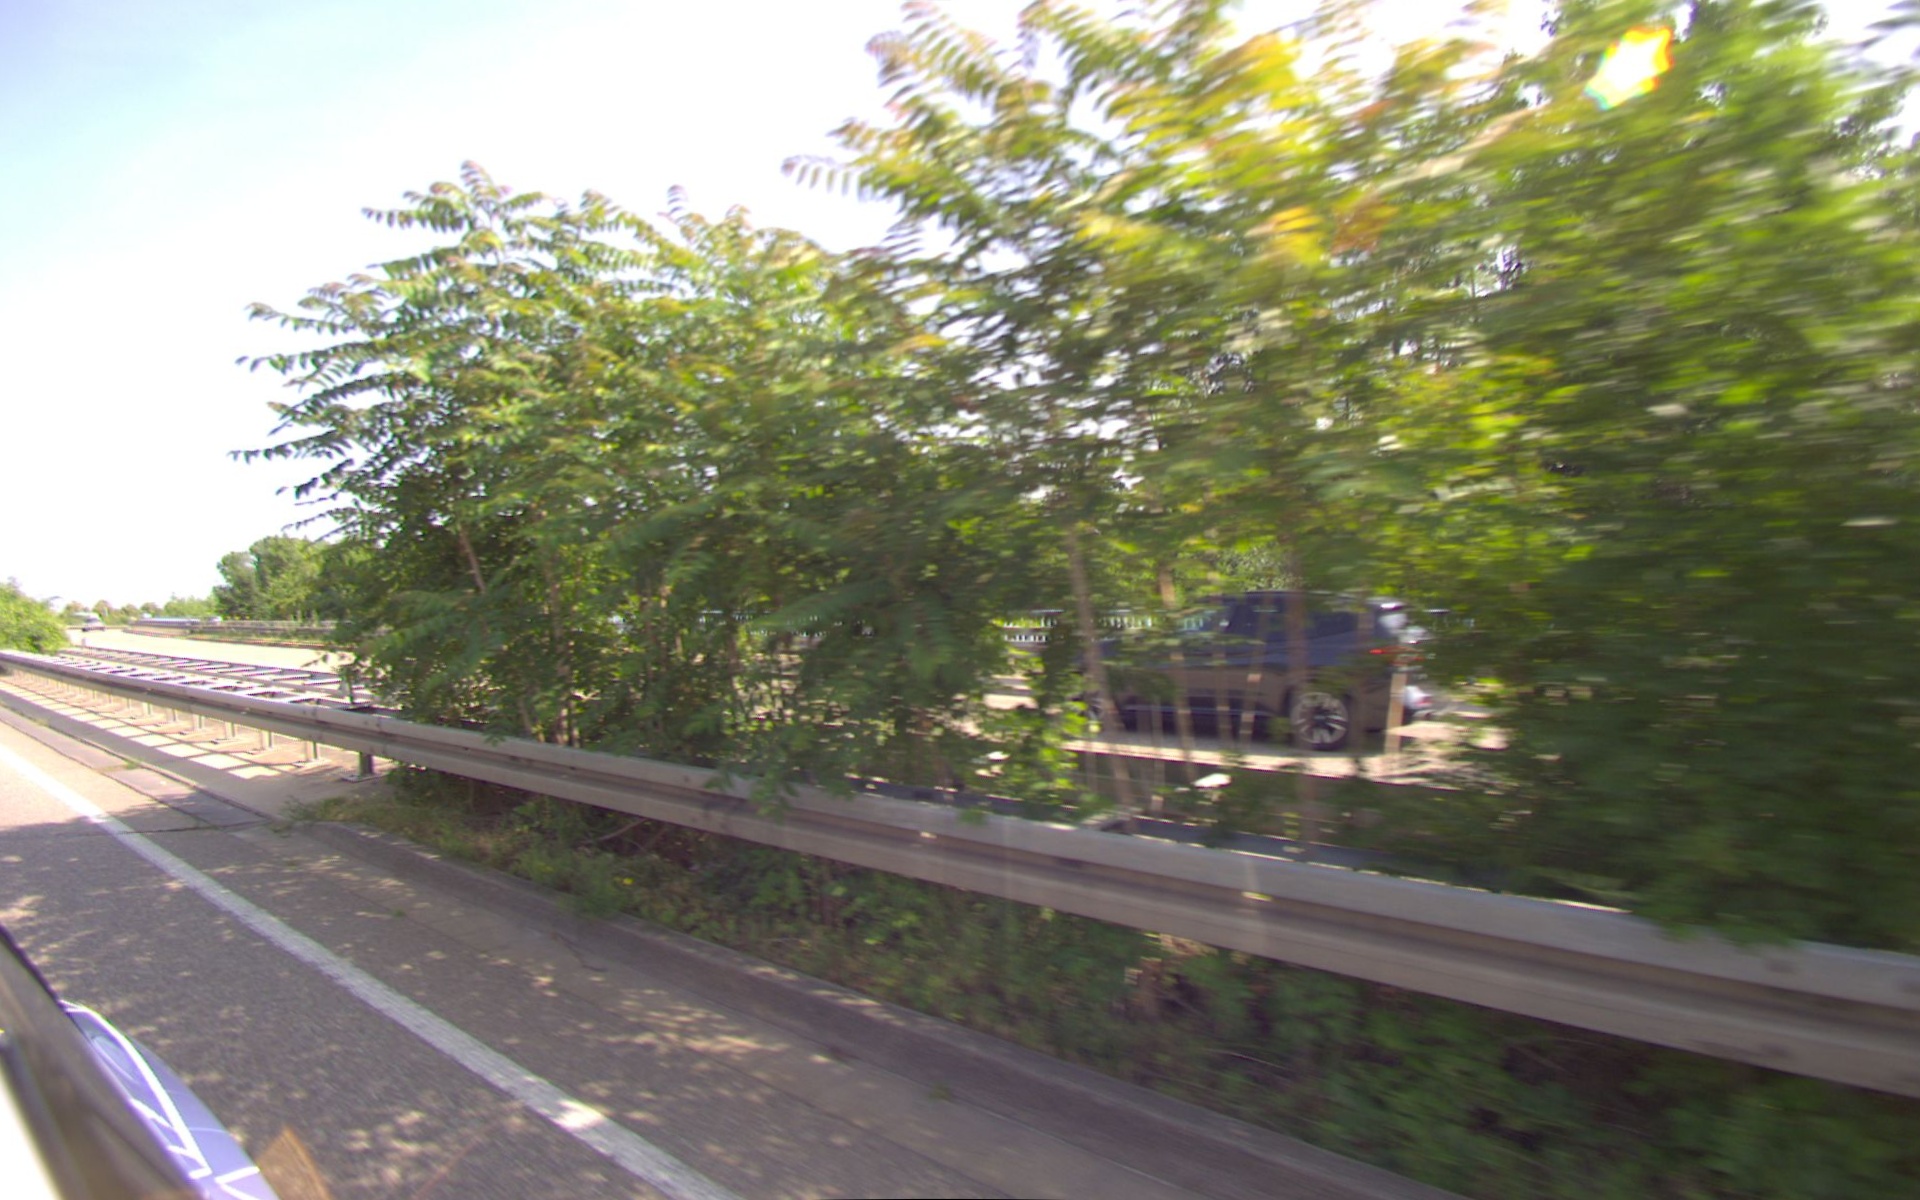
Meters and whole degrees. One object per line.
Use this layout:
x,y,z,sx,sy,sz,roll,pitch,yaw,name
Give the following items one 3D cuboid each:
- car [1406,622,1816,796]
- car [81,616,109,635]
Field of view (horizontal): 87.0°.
5.847,0.882,9.250,2.986,1.293,1.232,-2,0,41,car
-97.986,2.918,114.550,2.097,2.029,6.395,-2,0,-43,car
